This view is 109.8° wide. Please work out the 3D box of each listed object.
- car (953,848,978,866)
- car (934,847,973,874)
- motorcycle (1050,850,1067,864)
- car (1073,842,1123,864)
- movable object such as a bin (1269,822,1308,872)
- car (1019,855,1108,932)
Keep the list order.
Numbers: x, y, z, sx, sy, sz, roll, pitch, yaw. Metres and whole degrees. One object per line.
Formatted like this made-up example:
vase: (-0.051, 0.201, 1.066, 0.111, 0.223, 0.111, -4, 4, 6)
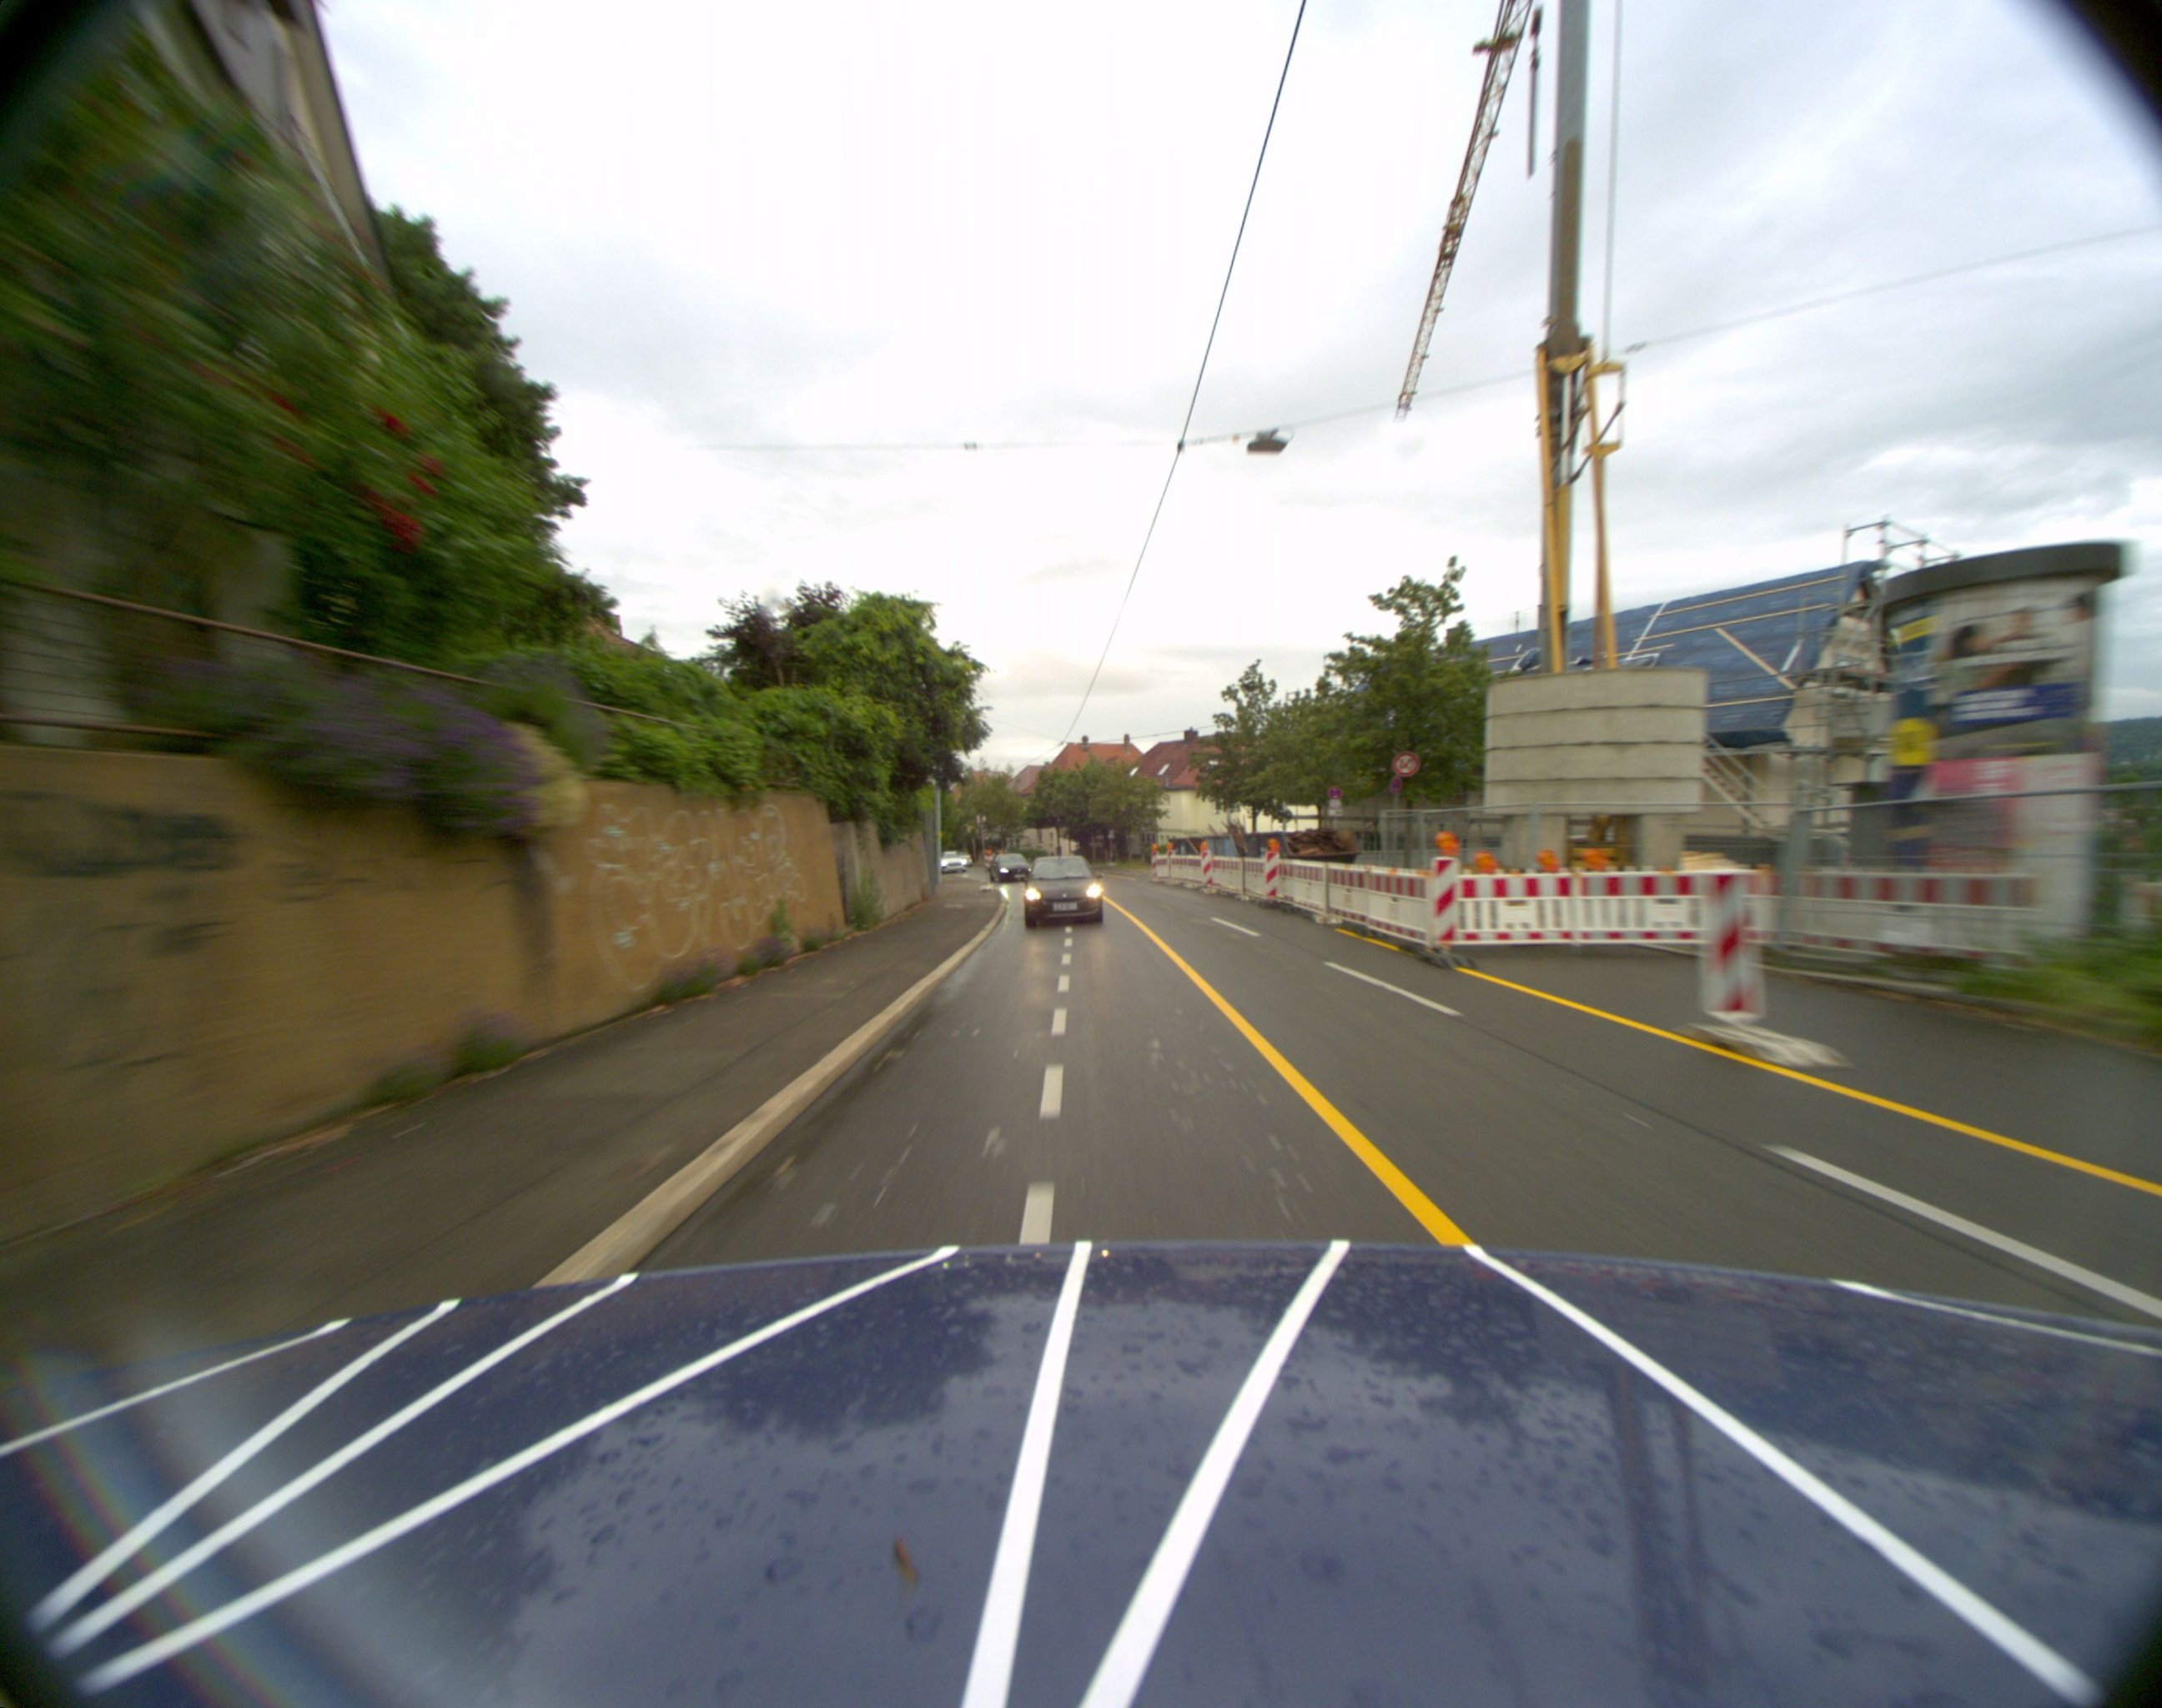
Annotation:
car: (-10.631, 0.308, 69.807, 1.462, 1.517, 2.917, -4, 2, -23)
car: (-9.936, 0.444, 58.938, 2.020, 1.729, 4.590, -7, 4, -20)
motorcycle: (-2.157, 0.256, 72.769, 0.735, 1.241, 1.964, -6, 2, -32)
car: (1.504, -0.085, 68.410, 3.956, 1.535, 1.859, -7, 4, -27)
movable object such as a bin: (10.794, -0.367, 39.509, 1.318, 2.491, 1.383, -3, 1, -24)
car: (-0.477, 0.797, 17.494, 1.747, 1.434, 4.357, -2, 1, -3)
